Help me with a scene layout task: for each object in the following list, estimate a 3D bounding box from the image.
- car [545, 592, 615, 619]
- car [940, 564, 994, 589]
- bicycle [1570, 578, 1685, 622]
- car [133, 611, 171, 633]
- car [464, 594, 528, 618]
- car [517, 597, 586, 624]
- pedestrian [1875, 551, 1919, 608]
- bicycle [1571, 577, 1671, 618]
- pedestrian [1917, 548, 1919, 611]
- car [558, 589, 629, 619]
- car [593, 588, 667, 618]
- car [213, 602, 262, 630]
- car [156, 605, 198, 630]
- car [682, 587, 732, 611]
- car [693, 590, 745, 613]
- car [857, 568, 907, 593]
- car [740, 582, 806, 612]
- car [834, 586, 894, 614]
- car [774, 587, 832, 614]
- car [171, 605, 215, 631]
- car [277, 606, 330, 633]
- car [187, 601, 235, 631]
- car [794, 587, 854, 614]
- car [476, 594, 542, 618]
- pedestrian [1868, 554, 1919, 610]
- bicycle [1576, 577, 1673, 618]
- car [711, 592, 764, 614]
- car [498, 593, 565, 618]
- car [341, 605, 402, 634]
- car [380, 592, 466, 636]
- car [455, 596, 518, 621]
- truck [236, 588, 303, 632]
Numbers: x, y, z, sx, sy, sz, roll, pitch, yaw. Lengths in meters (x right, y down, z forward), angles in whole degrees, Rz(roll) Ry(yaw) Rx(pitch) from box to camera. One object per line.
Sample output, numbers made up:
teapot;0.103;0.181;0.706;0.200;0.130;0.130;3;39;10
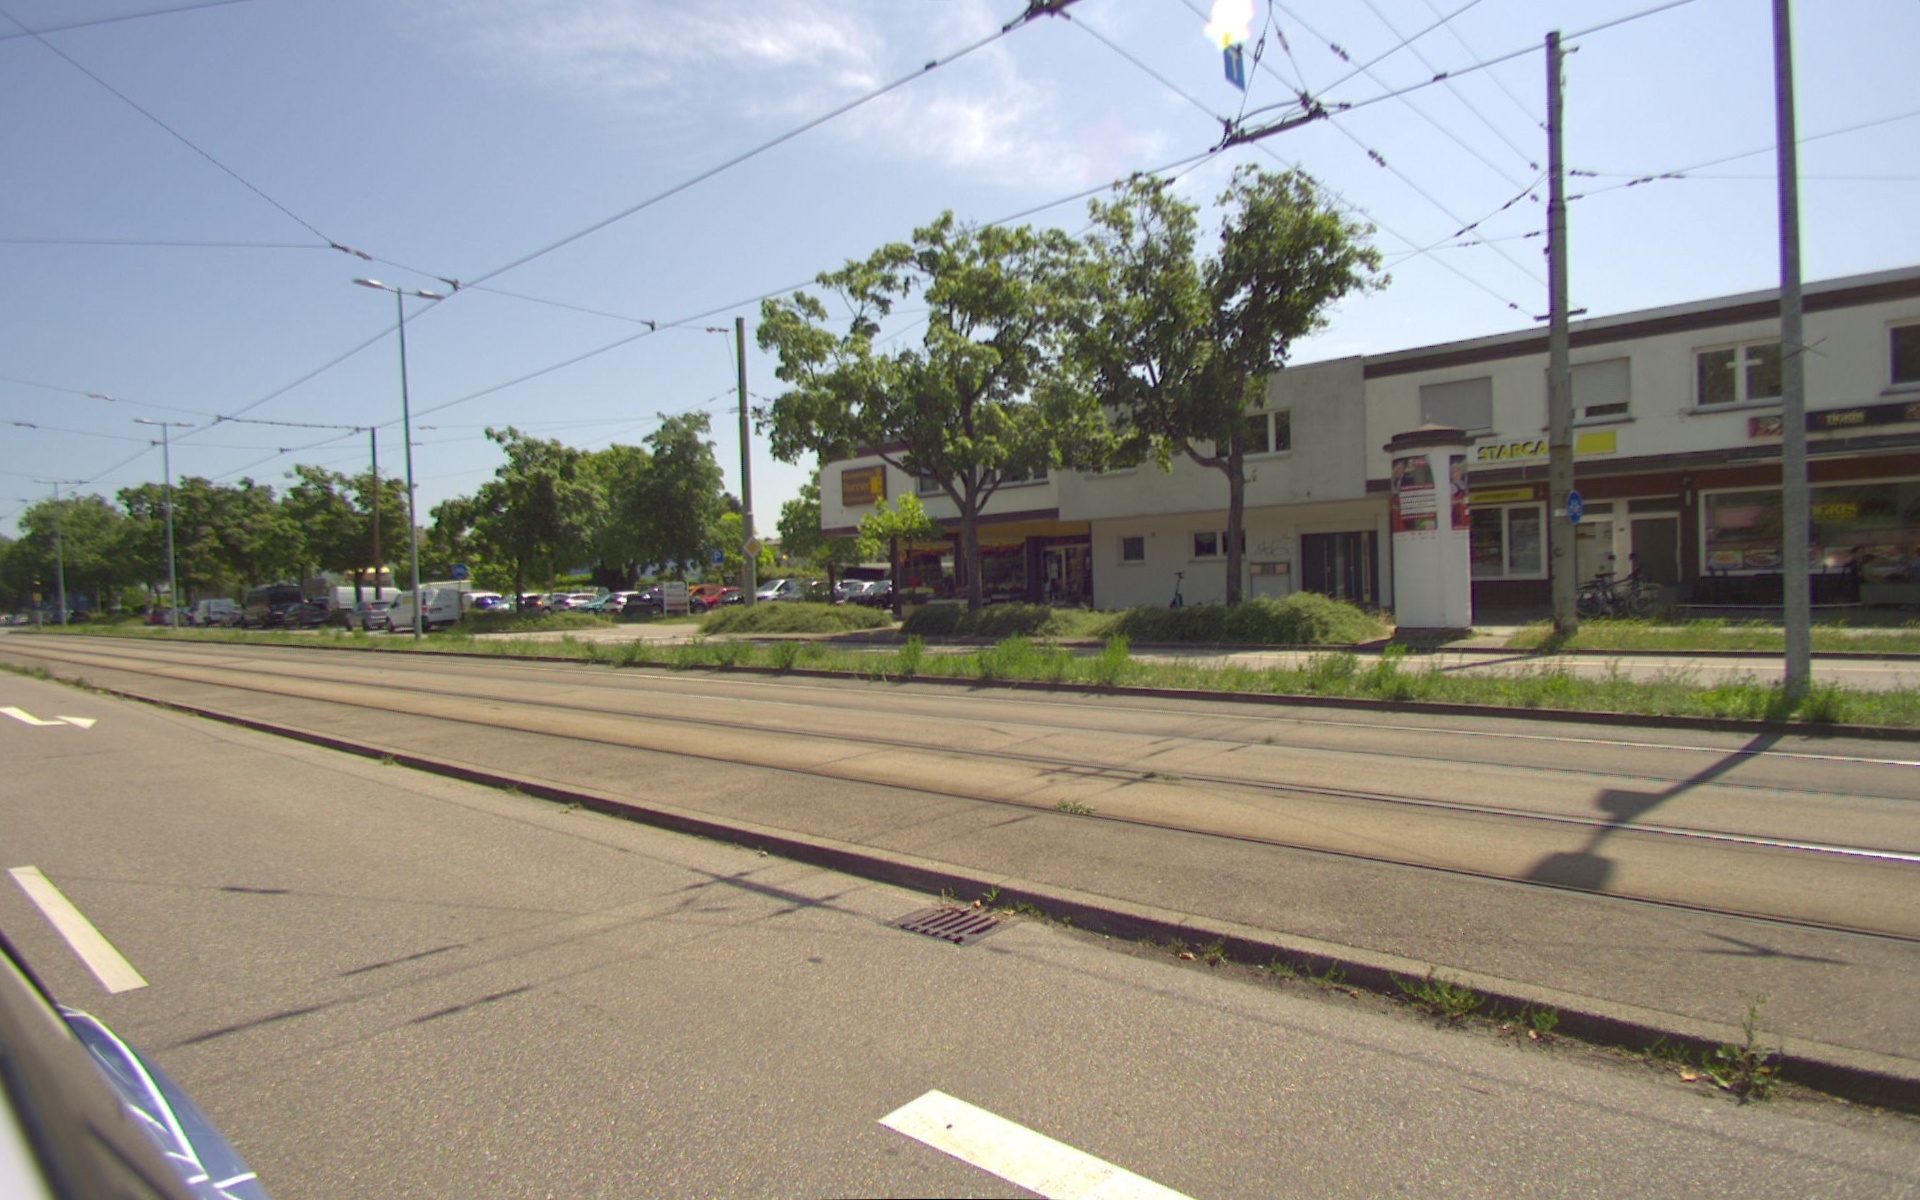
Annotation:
car;-21.730;0.280;57.951;1.600;1.404;3.375;-1;1;35
car;0.574;-1.827;78.648;2.000;1.785;3.944;-1;1;42
bicycle;14.137;0.013;21.468;1.958;0.854;0.596;-1;3;41
car;-65.534;1.791;82.111;3.820;1.716;1.660;-1;1;40
car;-29.817;0.384;65.043;1.600;1.404;3.375;-1;1;35
car;-23.796;0.582;58.994;1.600;1.404;3.375;-1;1;35
pedestrian;19.803;-0.433;21.366;0.674;1.172;0.512;-1;1;41
bicycle;14.725;-0.040;22.572;1.786;0.854;0.523;-1;3;41
pedestrian;19.272;-0.417;19.979;0.491;1.248;0.569;-1;1;40
car;-20.243;0.204;56.008;1.595;1.502;3.375;-1;1;35
car;-17.852;0.153;54.873;1.790;1.502;3.375;-1;1;35
car;-48.224;1.076;67.526;3.866;1.807;1.660;-1;1;40
car;-60.236;1.365;77.862;4.199;1.807;1.660;-2;0;40
car;-18.377;-0.079;73.648;1.504;1.573;3.315;-1;1;38
car;-16.998;0.079;71.467;1.504;1.469;3.315;-1;1;38
car;-6.709;-1.730;87.583;2.000;2.029;3.944;-1;1;42
car;-12.056;-0.186;65.287;1.811;1.798;3.950;-1;1;38
car;-5.775;-0.038;61.132;1.622;1.548;3.450;-1;1;38
car;-9.920;0.022;64.131;1.532;1.548;3.450;-1;1;37
car;-56.676;1.319;74.742;4.199;1.807;1.660;-1;1;40
car;-37.413;1.119;57.630;3.669;1.397;1.653;-1;1;43
car;-52.583;1.127;71.044;4.506;1.989;1.660;-1;1;40
car;-8.303;0.020;62.008;1.622;1.548;3.450;-1;1;38
car;-27.954;0.360;62.762;1.600;1.404;3.375;-1;1;35
pedestrian;19.270;-0.369;20.852;0.810;1.136;0.558;-1;1;41
bicycle;15.087;-0.049;22.998;1.786;0.854;0.523;-1;3;41
car;-15.236;0.192;69.456;1.504;1.400;3.315;-1;1;38
car;-25.966;0.334;61.390;1.600;1.404;3.375;-1;1;35
car;-29.830;0.984;51.246;3.568;1.397;1.653;-1;1;43
car;-25.019;0.637;47.071;4.659;1.897;1.973;-1;1;41
car;-31.394;0.566;67.165;1.600;1.517;3.375;-1;1;35
truck;-42.099;0.621;61.659;4.926;2.560;2.197;-1;1;41
